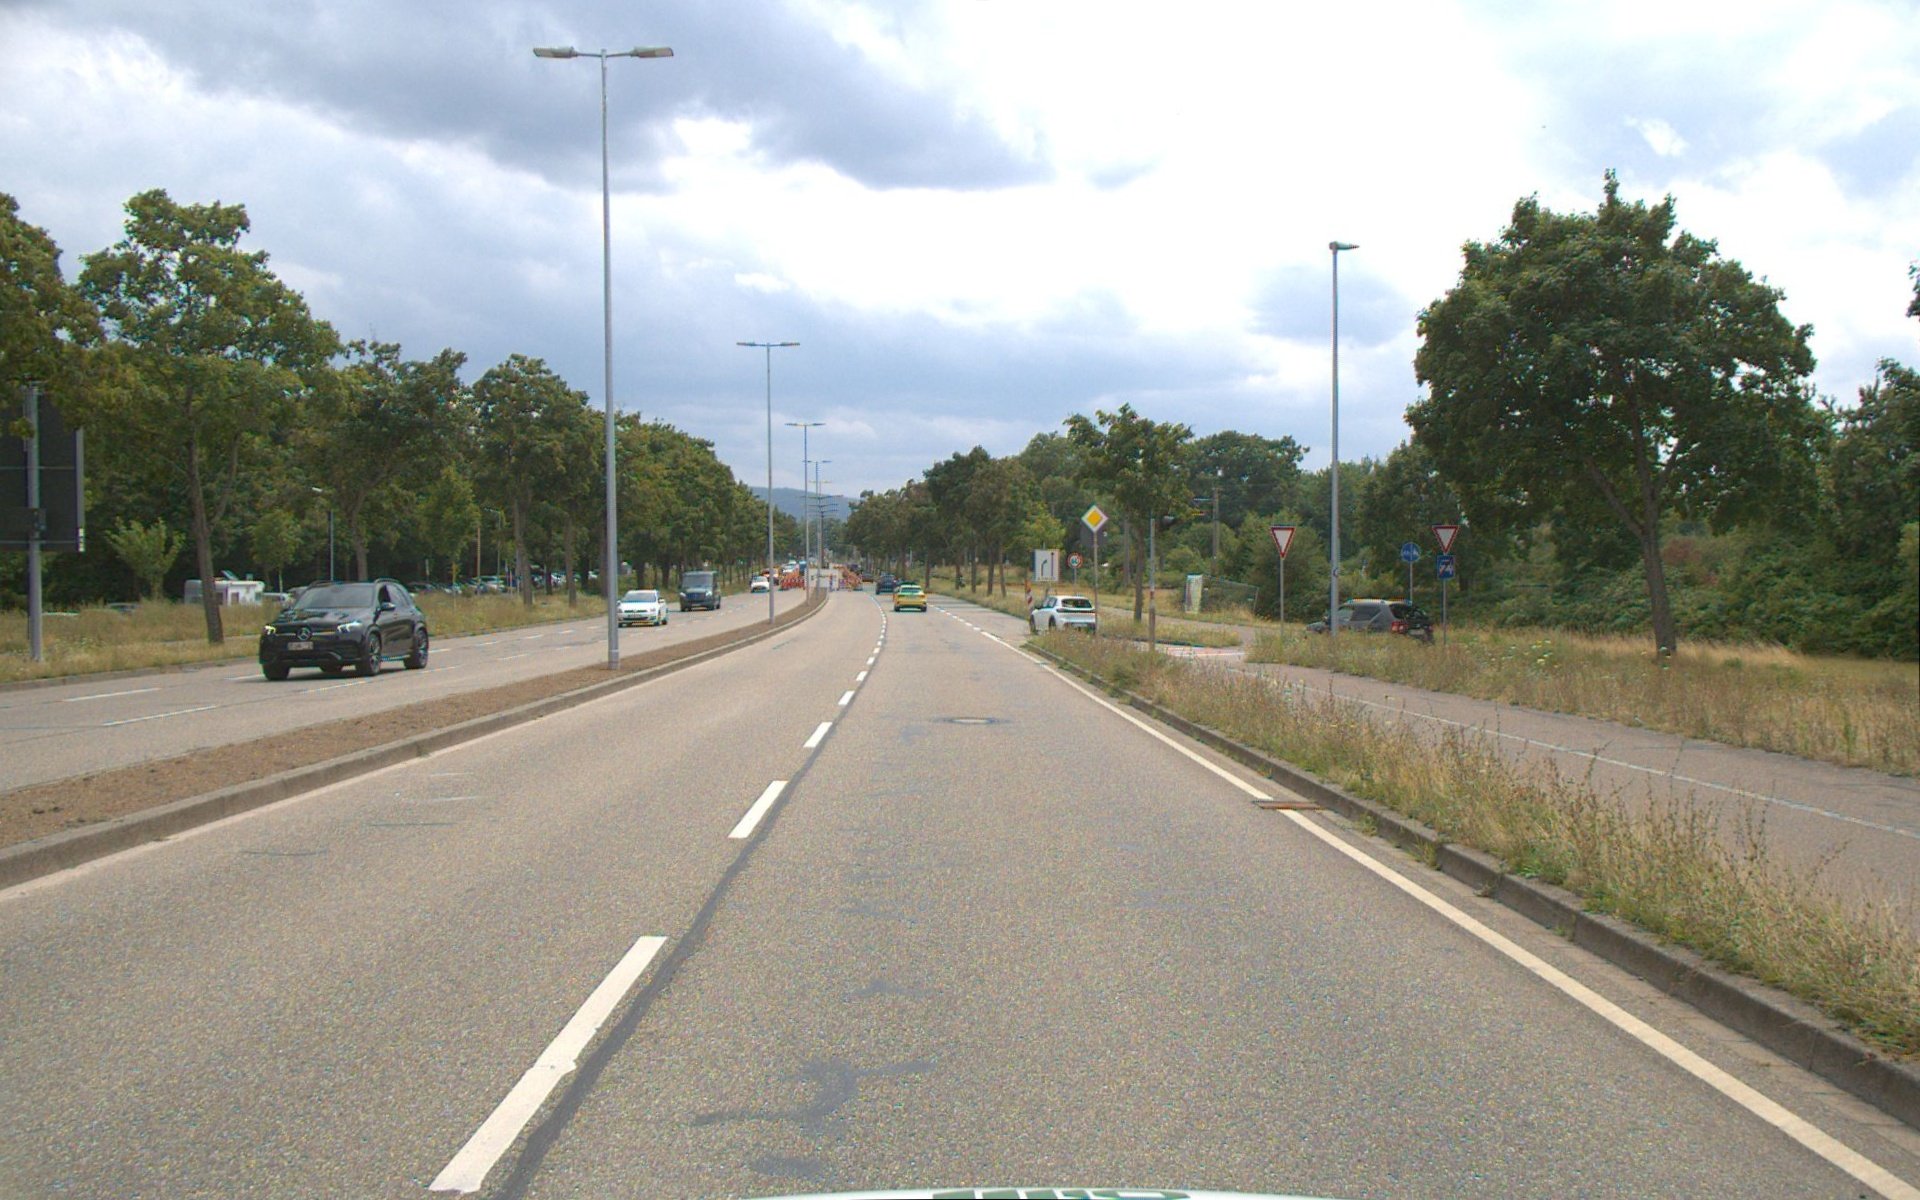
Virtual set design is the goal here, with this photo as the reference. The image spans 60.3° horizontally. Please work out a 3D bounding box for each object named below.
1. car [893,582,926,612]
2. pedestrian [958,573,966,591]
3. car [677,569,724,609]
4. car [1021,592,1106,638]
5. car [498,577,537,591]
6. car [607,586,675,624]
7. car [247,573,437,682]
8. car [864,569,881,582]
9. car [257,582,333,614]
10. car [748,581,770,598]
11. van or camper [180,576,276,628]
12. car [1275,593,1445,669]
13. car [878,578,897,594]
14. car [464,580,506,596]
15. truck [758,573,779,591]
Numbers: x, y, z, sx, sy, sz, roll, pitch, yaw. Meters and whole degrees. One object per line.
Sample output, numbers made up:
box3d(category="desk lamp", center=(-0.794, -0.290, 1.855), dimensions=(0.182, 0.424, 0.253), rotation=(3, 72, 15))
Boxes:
box3d(category="car", center=(-2.850, -0.203, 92.790), dimensions=(1.757, 1.589, 3.999), rotation=(0, 2, -3))
box3d(category="pedestrian", center=(0.205, -1.743, 159.236), dimensions=(0.677, 1.725, 0.932), rotation=(0, 1, -9))
box3d(category="car", center=(-15.265, -0.692, 97.588), dimensions=(2.053, 2.239, 6.001), rotation=(-1, 1, -3))
box3d(category="car", center=(3.650, 0.499, 58.954), dimensions=(1.739, 1.489, 3.981), rotation=(-1, 2, -18))
box3d(category="car", center=(-47.712, -1.715, 178.544), dimensions=(3.696, 1.450, 1.965), rotation=(0, 1, -2))
box3d(category="car", center=(-13.184, 0.176, 68.549), dimensions=(1.953, 1.455, 4.687), rotation=(-1, 1, -1))
box3d(category="car", center=(-11.647, 0.442, 31.568), dimensions=(1.953, 1.843, 4.796), rotation=(-1, 2, -2))
box3d(category="car", center=(-11.403, -3.207, 215.884), dimensions=(2.162, 1.713, 3.999), rotation=(0, 1, -2))
box3d(category="car", center=(-40.972, -0.120, 101.983), dimensions=(3.908, 1.920, 1.938), rotation=(0, 1, -4))
box3d(category="car", center=(-19.099, -1.033, 157.211), dimensions=(1.682, 1.444, 4.158), rotation=(-2, 2, -3))
box3d(category="van or camper", center=(-38.863, 0.048, 88.038), dimensions=(2.422, 2.585, 6.717), rotation=(0, 2, -3))
box3d(category="car", center=(9.891, 0.723, 41.108), dimensions=(1.691, 1.697, 3.947), rotation=(0, 1, -37))
box3d(category="car", center=(-6.230, -1.222, 142.070), dimensions=(1.634, 1.292, 3.999), rotation=(0, 2, -3))
box3d(category="car", center=(-46.323, -1.207, 161.392), dimensions=(3.575, 1.546, 1.882), rotation=(0, 1, -2))
box3d(category="truck", center=(-22.617, -2.142, 195.696), dimensions=(2.047, 2.029, 6.036), rotation=(-2, 2, -3))
